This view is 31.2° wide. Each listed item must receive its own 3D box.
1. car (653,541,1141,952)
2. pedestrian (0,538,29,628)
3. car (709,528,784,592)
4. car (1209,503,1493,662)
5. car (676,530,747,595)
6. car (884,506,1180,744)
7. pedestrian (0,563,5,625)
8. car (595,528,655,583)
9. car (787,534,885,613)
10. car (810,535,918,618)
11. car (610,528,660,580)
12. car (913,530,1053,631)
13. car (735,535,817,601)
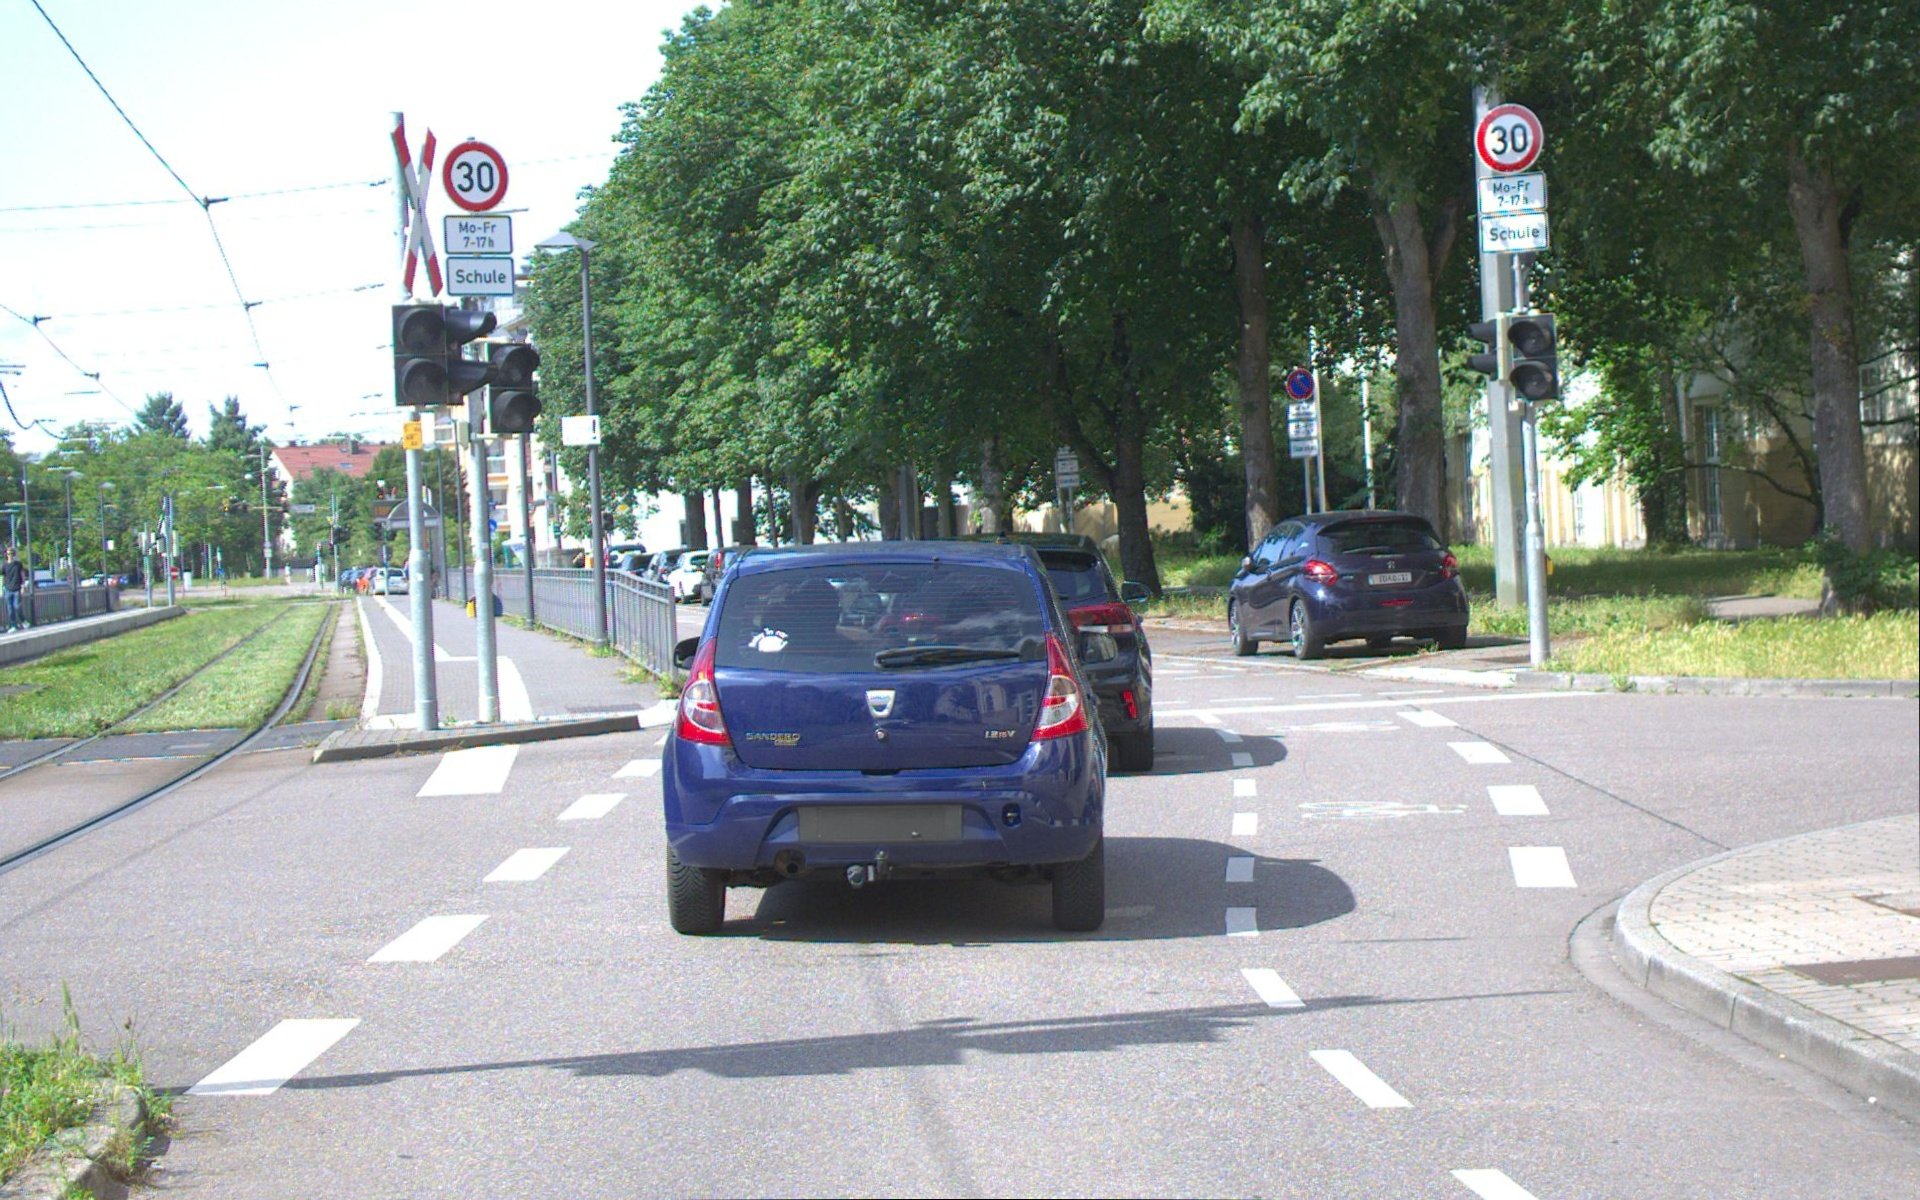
[{"bbox_3d":[-0.244,0.507,14.516,1.768,1.457,3.776,-1,1,0],"label":"car"},{"bbox_3d":[-21.515,-0.394,77.981,0.660,2.007,0.804,-3,1,-14],"label":"pedestrian"},{"bbox_3d":[-5.599,-1.059,90.011,1.827,1.532,4.001,-4,1,-4],"label":"car"},{"bbox_3d":[3.935,-0.197,35.203,1.765,1.428,3.905,-4,1,-10],"label":"car"},{"bbox_3d":[-7.112,-1.077,98.260,1.617,1.744,4.001,-3,1,-9],"label":"car"},{"bbox_3d":[0.385,0.102,21.993,1.700,1.363,3.515,-1,2,-2],"label":"car"},{"bbox_3d":[-22.507,-0.112,78.728,1.028,1.433,0.703,-5,2,-24],"label":"pedestrian"},{"bbox_3d":[-11.387,-1.535,116.950,1.830,1.755,4.001,-3,1,-4],"label":"car"},{"bbox_3d":[-2.633,-0.581,72.141,1.851,1.510,4.001,-3,1,-4],"label":"car"},{"bbox_3d":[-1.916,-0.480,67.435,1.861,1.440,4.001,-4,1,-4],"label":"car"},{"bbox_3d":[-11.644,-1.654,123.067,1.667,1.766,4.001,-3,1,-5],"label":"car"},{"bbox_3d":[0.332,-0.344,55.514,1.861,1.440,4.001,-4,1,-4],"label":"car"},{"bbox_3d":[-4.531,-0.762,84.351,1.861,1.440,4.000,-4,0,-4],"label":"car"}]
